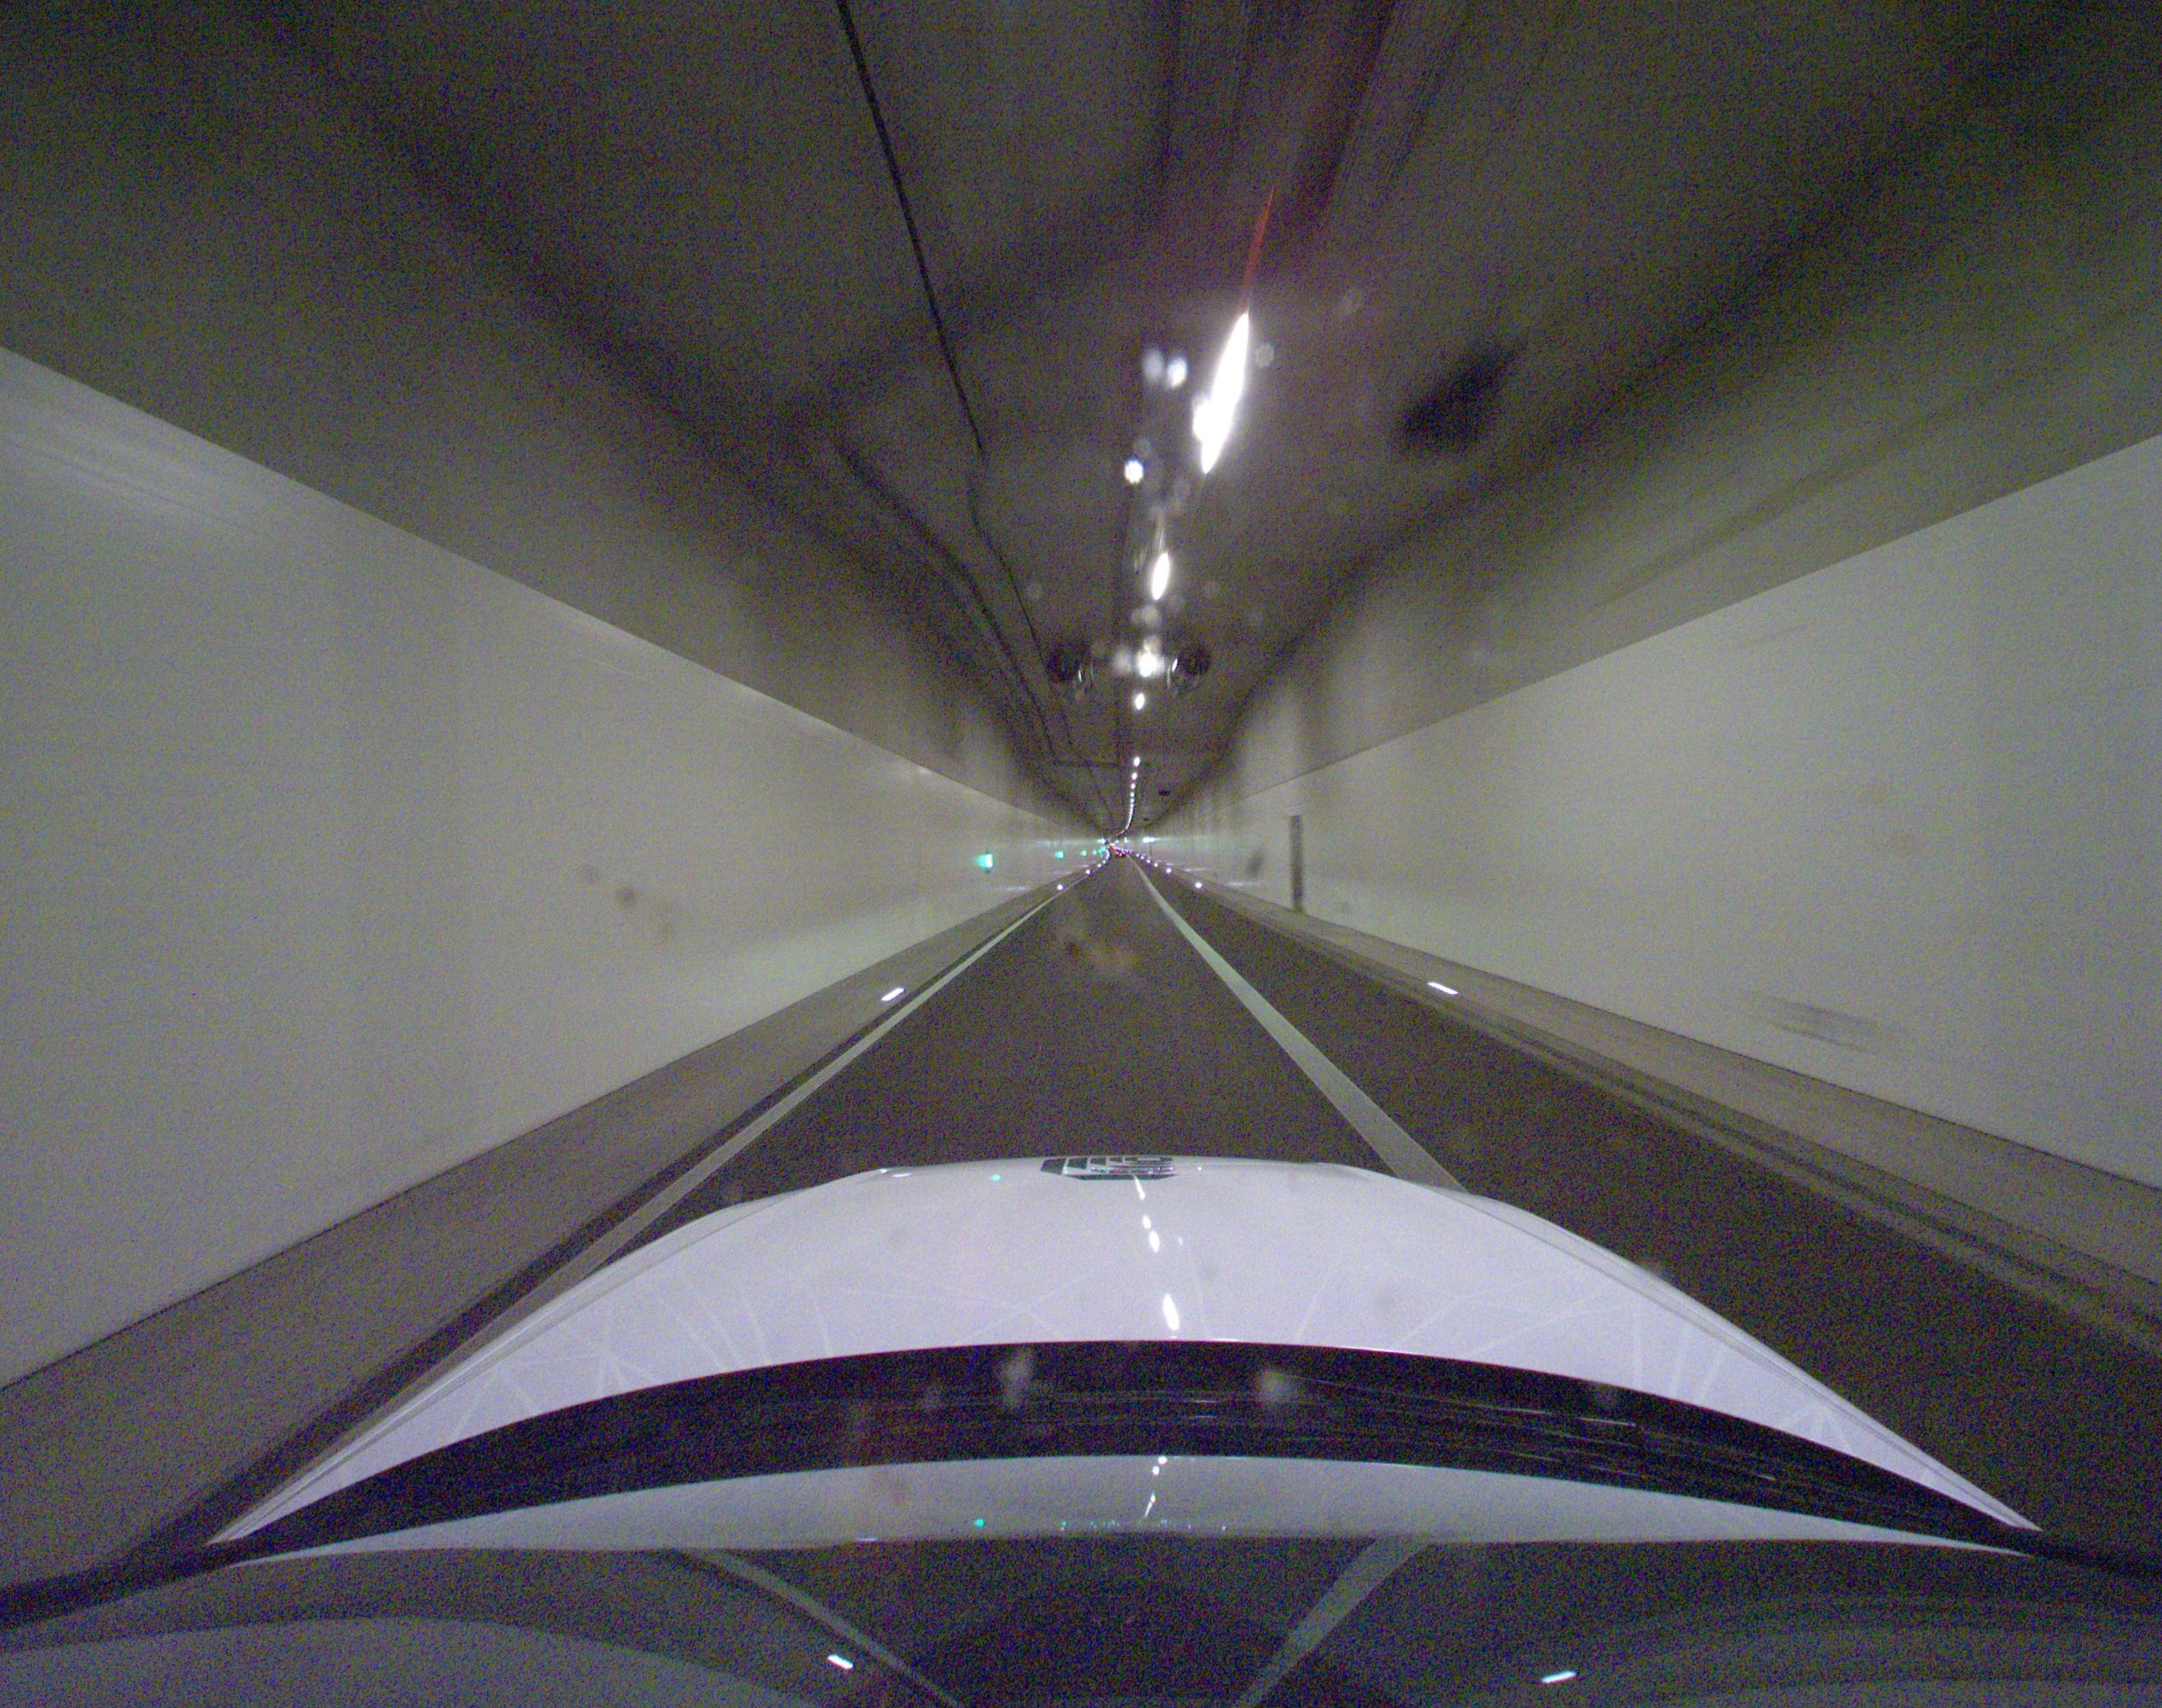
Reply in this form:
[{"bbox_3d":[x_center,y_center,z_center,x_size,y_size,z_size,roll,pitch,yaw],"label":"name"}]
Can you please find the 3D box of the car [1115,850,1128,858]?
[{"bbox_3d":[6.808,0.008,138.070,1.987,1.420,4.000,0,0,1],"label":"car"}]
